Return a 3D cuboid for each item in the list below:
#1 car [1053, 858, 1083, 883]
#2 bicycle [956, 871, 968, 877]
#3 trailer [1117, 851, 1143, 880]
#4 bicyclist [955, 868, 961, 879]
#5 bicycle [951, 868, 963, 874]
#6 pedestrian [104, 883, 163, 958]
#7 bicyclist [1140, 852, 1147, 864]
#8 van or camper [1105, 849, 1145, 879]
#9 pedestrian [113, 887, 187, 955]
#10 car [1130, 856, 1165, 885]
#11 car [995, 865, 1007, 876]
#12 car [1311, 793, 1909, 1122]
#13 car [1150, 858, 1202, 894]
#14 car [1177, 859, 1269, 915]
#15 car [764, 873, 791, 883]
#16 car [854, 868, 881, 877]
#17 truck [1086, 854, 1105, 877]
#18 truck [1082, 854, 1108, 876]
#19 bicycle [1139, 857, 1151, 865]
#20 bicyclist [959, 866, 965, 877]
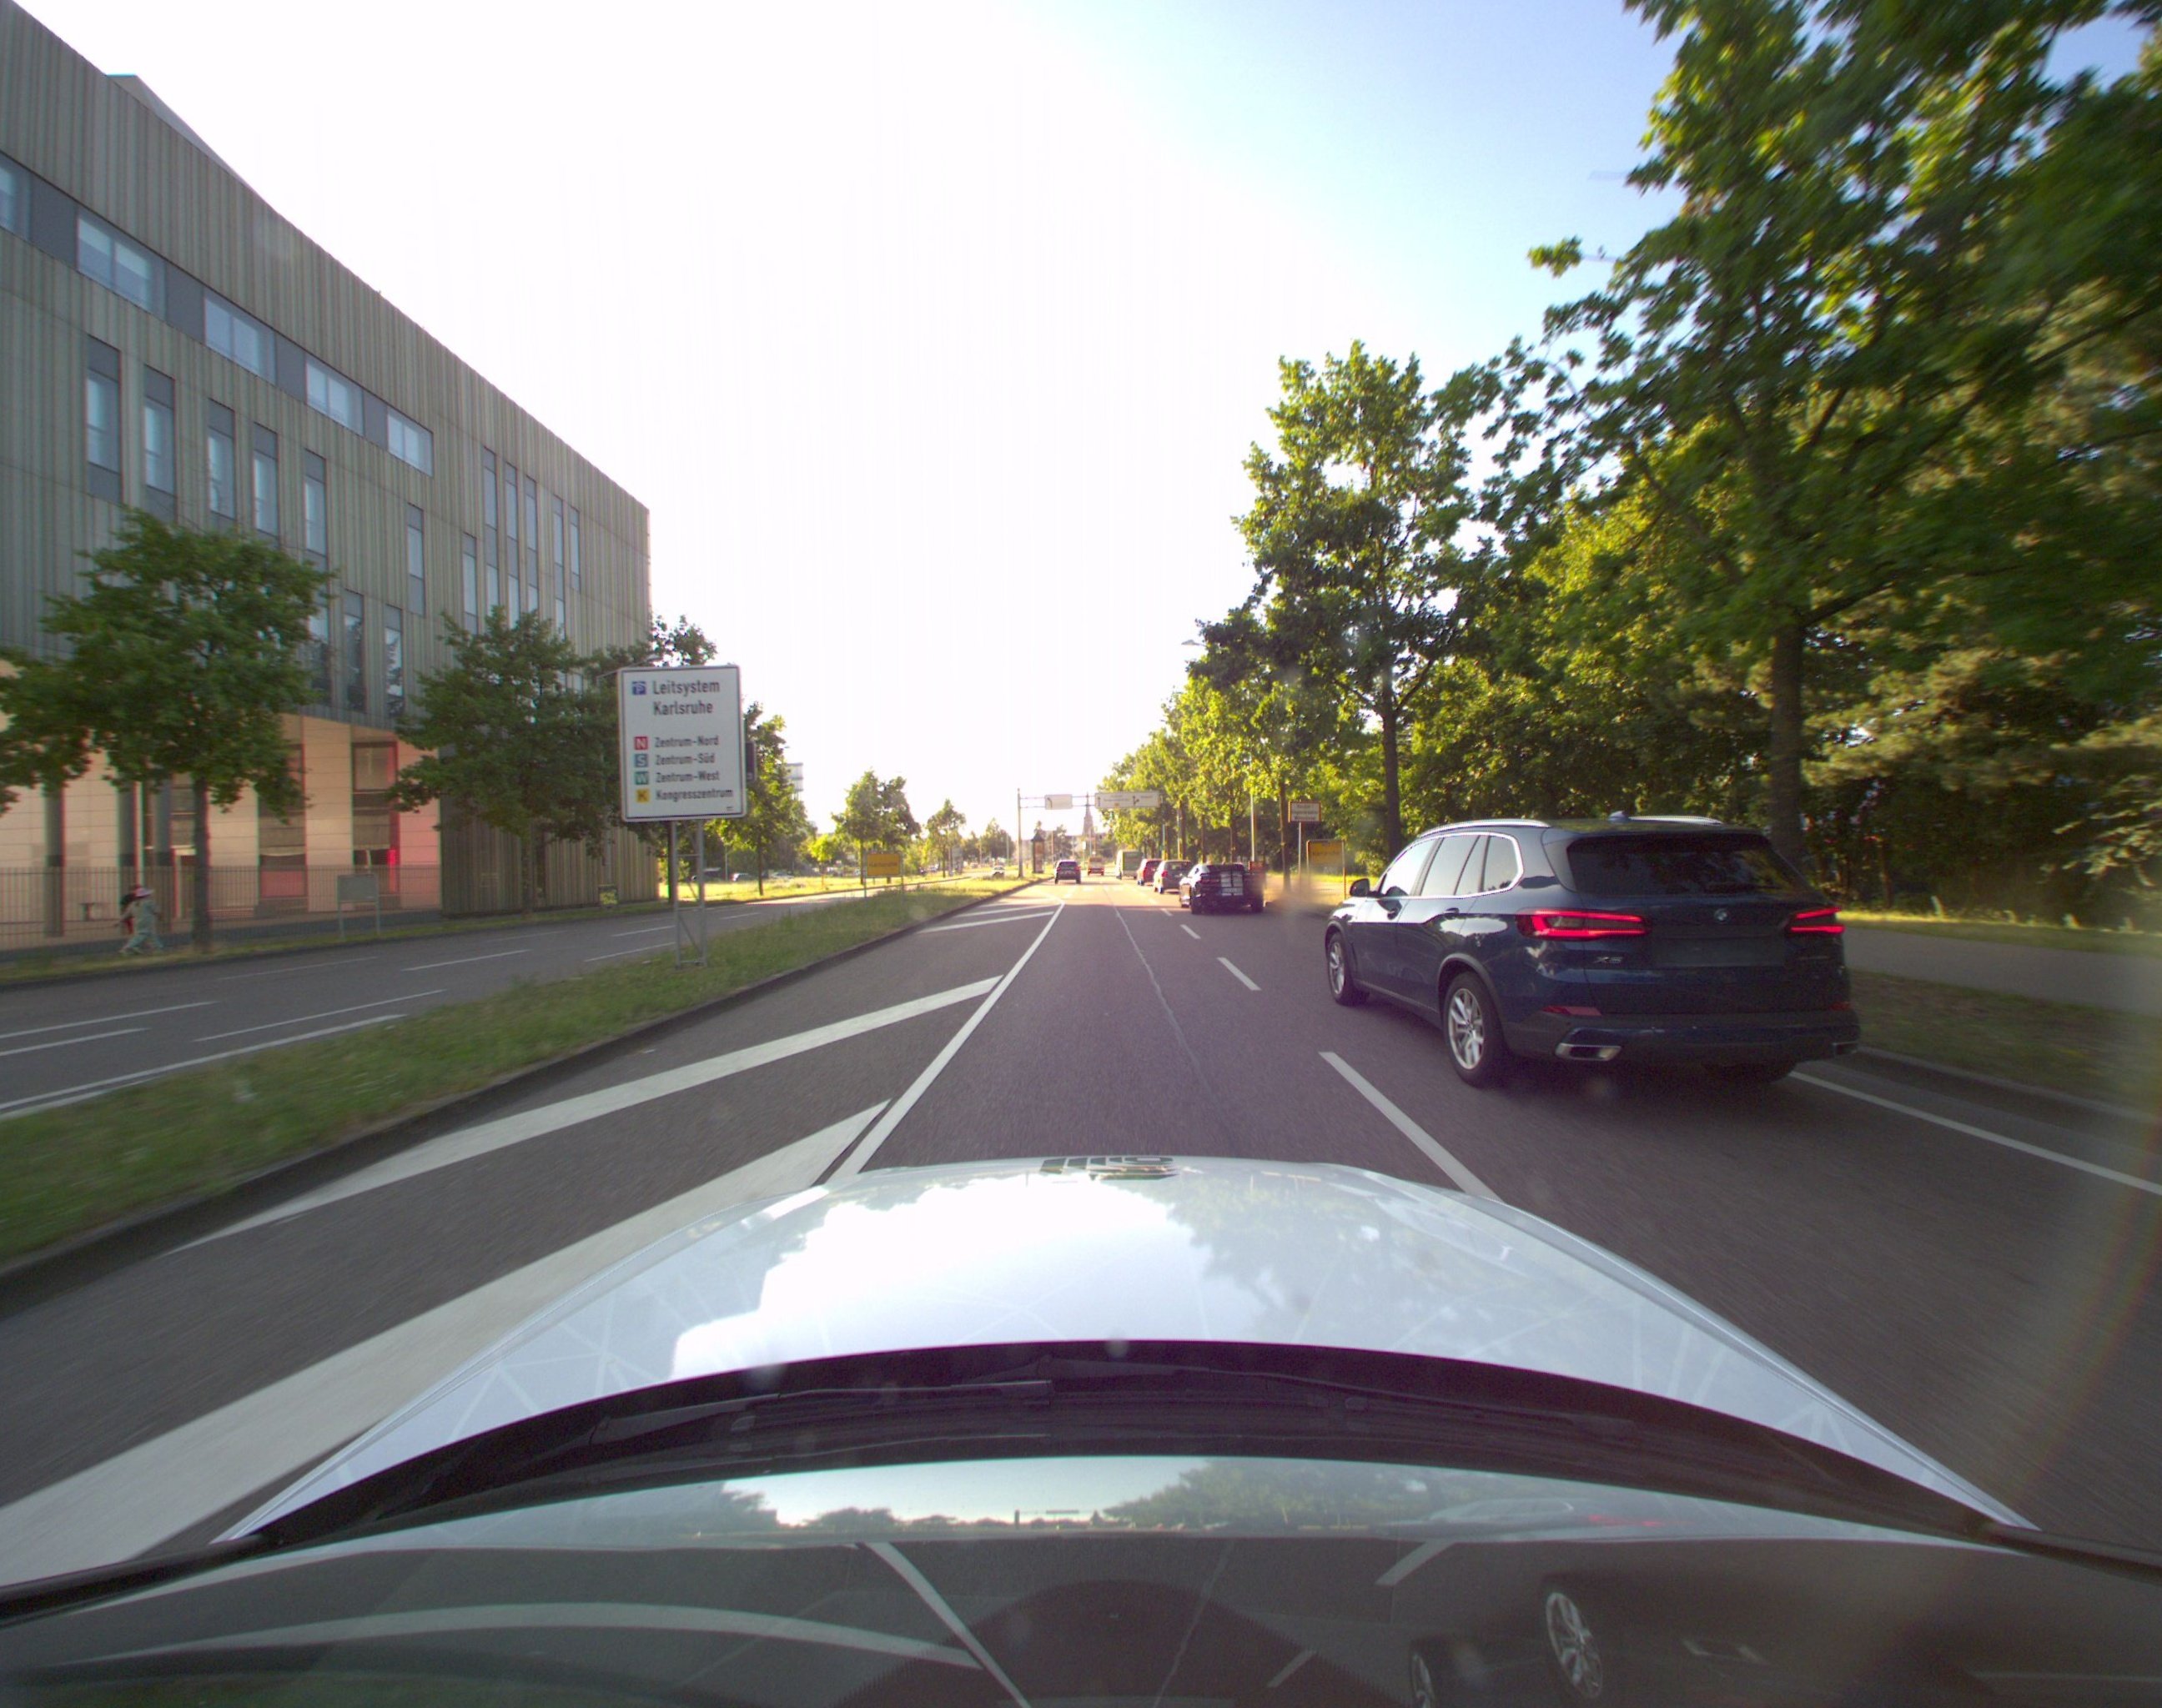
[{"bbox_3d":[-0.962,1.145,56.854,1.901,1.660,3.995,-2,-1,-3],"label":"car"},{"bbox_3d":[-19.510,3.298,133.401,1.898,1.020,0.505,-1,-1,7],"label":"bicycle"},{"bbox_3d":[4.155,0.999,69.847,2.083,2.400,3.501,0,0,1],"label":"trailer"},{"bbox_3d":[-19.871,3.157,131.934,0.807,1.770,0.498,-1,-1,15],"label":"bicyclist"},{"bbox_3d":[-20.046,2.752,131.979,1.894,1.020,0.506,-1,-1,15],"label":"bicycle"},{"bbox_3d":[-24.181,1.690,20.793,0.630,1.841,0.717,-2,0,1],"label":"pedestrian"},{"bbox_3d":[10.228,0.687,132.821,0.927,1.899,0.605,-4,-1,37],"label":"bicyclist"},{"bbox_3d":[4.012,0.868,75.806,2.285,2.629,6.559,-1,0,-11],"label":"van or camper"},{"bbox_3d":[-23.237,1.656,20.346,0.773,1.601,0.909,-2,0,1],"label":"pedestrian"},{"bbox_3d":[3.969,0.981,49.120,1.742,1.621,3.818,0,0,-1],"label":"car"},{"bbox_3d":[-11.568,2.344,117.775,1.558,1.575,3.409,-2,-1,-2],"label":"car"},{"bbox_3d":[3.474,0.583,6.692,1.947,1.727,4.700,-1,-1,2],"label":"car"},{"bbox_3d":[4.180,0.927,36.305,1.742,1.473,3.817,-2,0,-1],"label":"car"},{"bbox_3d":[3.828,0.849,22.745,1.847,1.338,4.626,-1,0,1],"label":"car"},{"bbox_3d":[-50.770,4.017,136.311,3.729,1.508,1.853,-2,0,-42],"label":"car"},{"bbox_3d":[-38.681,3.325,147.494,4.332,1.508,1.853,-2,0,-42],"label":"car"},{"bbox_3d":[1.778,1.377,100.469,2.213,2.651,4.771,-2,0,-1],"label":"truck"},{"bbox_3d":[1.685,1.341,101.200,2.576,2.558,6.241,-2,0,-4],"label":"truck"},{"bbox_3d":[10.408,1.127,132.695,1.885,1.244,0.613,-4,-1,37],"label":"bicycle"},{"bbox_3d":[-19.497,2.829,133.402,0.808,1.789,0.497,-1,-1,8],"label":"bicyclist"}]
